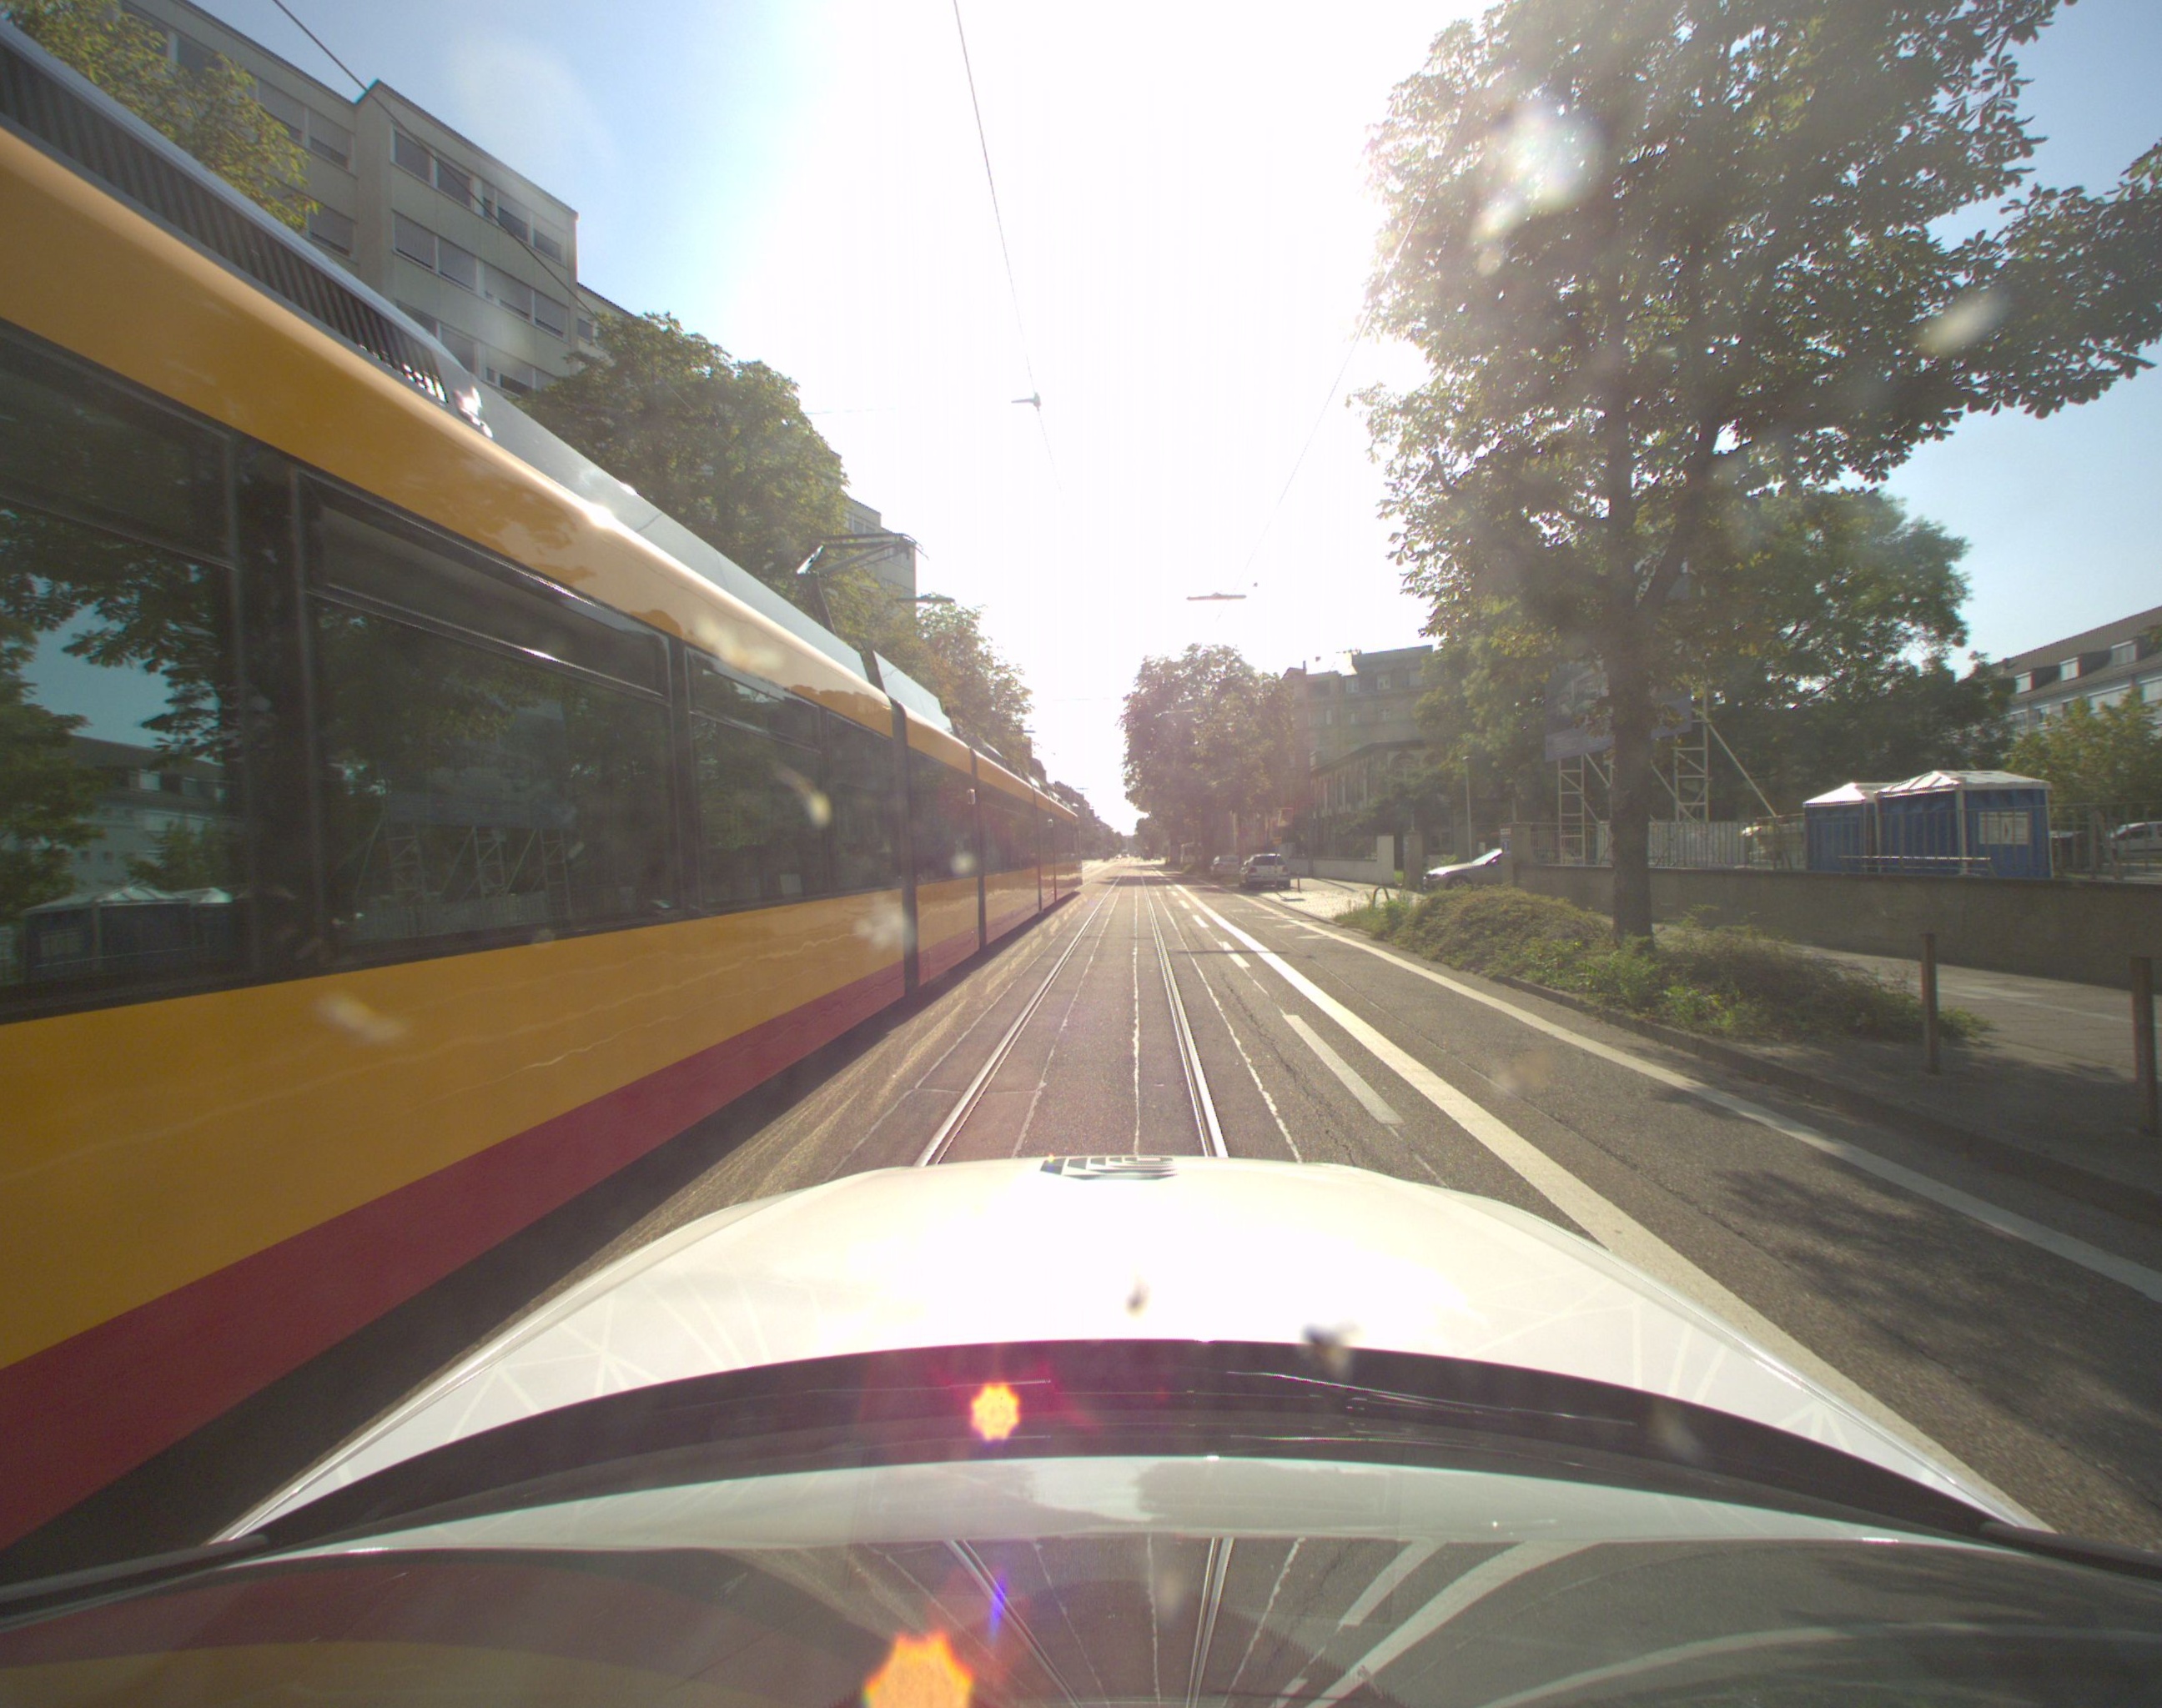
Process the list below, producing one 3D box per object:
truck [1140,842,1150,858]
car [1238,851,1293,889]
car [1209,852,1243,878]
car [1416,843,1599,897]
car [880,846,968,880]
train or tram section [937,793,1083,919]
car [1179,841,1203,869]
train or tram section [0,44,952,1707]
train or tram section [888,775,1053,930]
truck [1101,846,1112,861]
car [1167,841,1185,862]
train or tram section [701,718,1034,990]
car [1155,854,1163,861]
[{"bbox_3d":[12.853,-0.728,163.793,1.853,3.131,4.354,-1,0,2],"label":"truck"},{"bbox_3d":[7.444,0.606,33.174,1.682,1.418,3.639,-1,0,5],"label":"car"},{"bbox_3d":[8.298,0.614,46.885,1.587,1.418,3.639,-1,0,5],"label":"car"},{"bbox_3d":[12.333,0.464,23.818,4.391,1.410,1.812,-2,0,12],"label":"car"},{"bbox_3d":[-7.220,0.400,37.596,1.551,1.443,3.786,-1,0,44],"label":"car"},{"bbox_3d":[-1.646,0.043,24.215,2.668,2.862,10.555,-1,0,4],"label":"train or tram section"},{"bbox_3d":[10.101,0.048,75.135,1.995,2.490,4.483,-1,0,5],"label":"car"},{"bbox_3d":[-3.276,0.049,0.873,2.717,2.894,15.471,-1,0,4],"label":"train or tram section"},{"bbox_3d":[-2.139,-0.025,17.107,2.694,2.856,3.653,-1,0,4],"label":"train or tram section"},{"bbox_3d":[5.099,-0.131,164.122,1.985,2.975,4.575,-1,0,3],"label":"truck"},{"bbox_3d":[11.875,-0.307,101.977,1.995,2.475,4.483,-1,0,5],"label":"car"},{"bbox_3d":[-2.495,0.009,11.987,2.717,2.849,6.550,-1,0,4],"label":"train or tram section"},{"bbox_3d":[19.078,0.866,199.214,1.984,1.838,4.006,-1,0,5],"label":"car"}]
